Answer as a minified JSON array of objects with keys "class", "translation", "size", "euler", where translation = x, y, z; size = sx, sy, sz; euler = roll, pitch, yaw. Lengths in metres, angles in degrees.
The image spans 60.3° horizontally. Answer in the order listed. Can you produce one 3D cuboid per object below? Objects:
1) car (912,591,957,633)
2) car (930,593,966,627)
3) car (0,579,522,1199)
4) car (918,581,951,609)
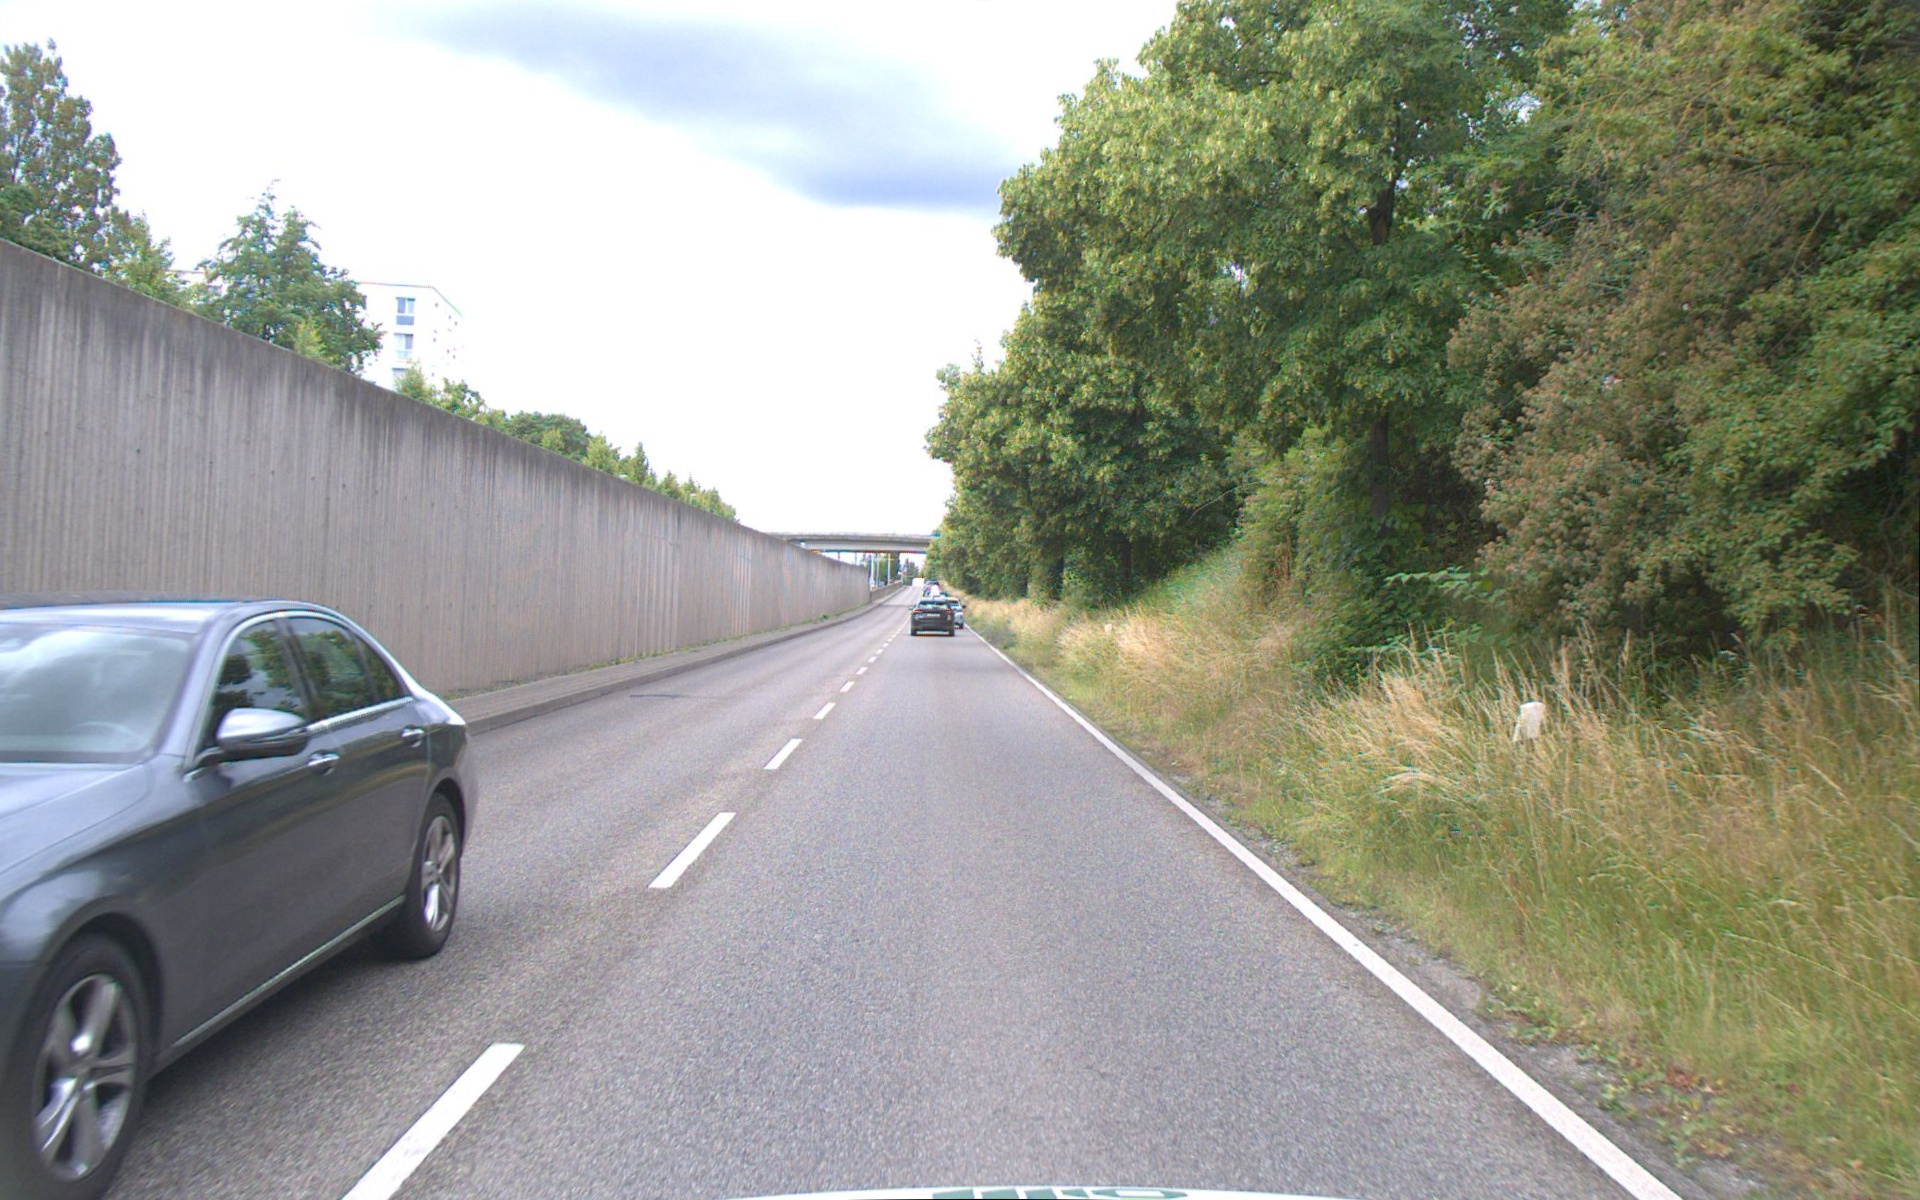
[{"class":"car","translation":[-1.021,0.496,65.651],"size":[1.718,1.550,4.035],"euler":[0,-2,-1]},{"class":"car","translation":[-0.604,0.498,81.073],"size":[1.718,1.550,4.035],"euler":[-1,-1,-1]},{"class":"car","translation":[-2.954,0.696,5.311],"size":[1.854,1.509,4.822],"euler":[1,0,-1]},{"class":"car","translation":[-1.563,-0.274,99.921],"size":[1.830,1.516,4.254],"euler":[4,0,-3]}]
